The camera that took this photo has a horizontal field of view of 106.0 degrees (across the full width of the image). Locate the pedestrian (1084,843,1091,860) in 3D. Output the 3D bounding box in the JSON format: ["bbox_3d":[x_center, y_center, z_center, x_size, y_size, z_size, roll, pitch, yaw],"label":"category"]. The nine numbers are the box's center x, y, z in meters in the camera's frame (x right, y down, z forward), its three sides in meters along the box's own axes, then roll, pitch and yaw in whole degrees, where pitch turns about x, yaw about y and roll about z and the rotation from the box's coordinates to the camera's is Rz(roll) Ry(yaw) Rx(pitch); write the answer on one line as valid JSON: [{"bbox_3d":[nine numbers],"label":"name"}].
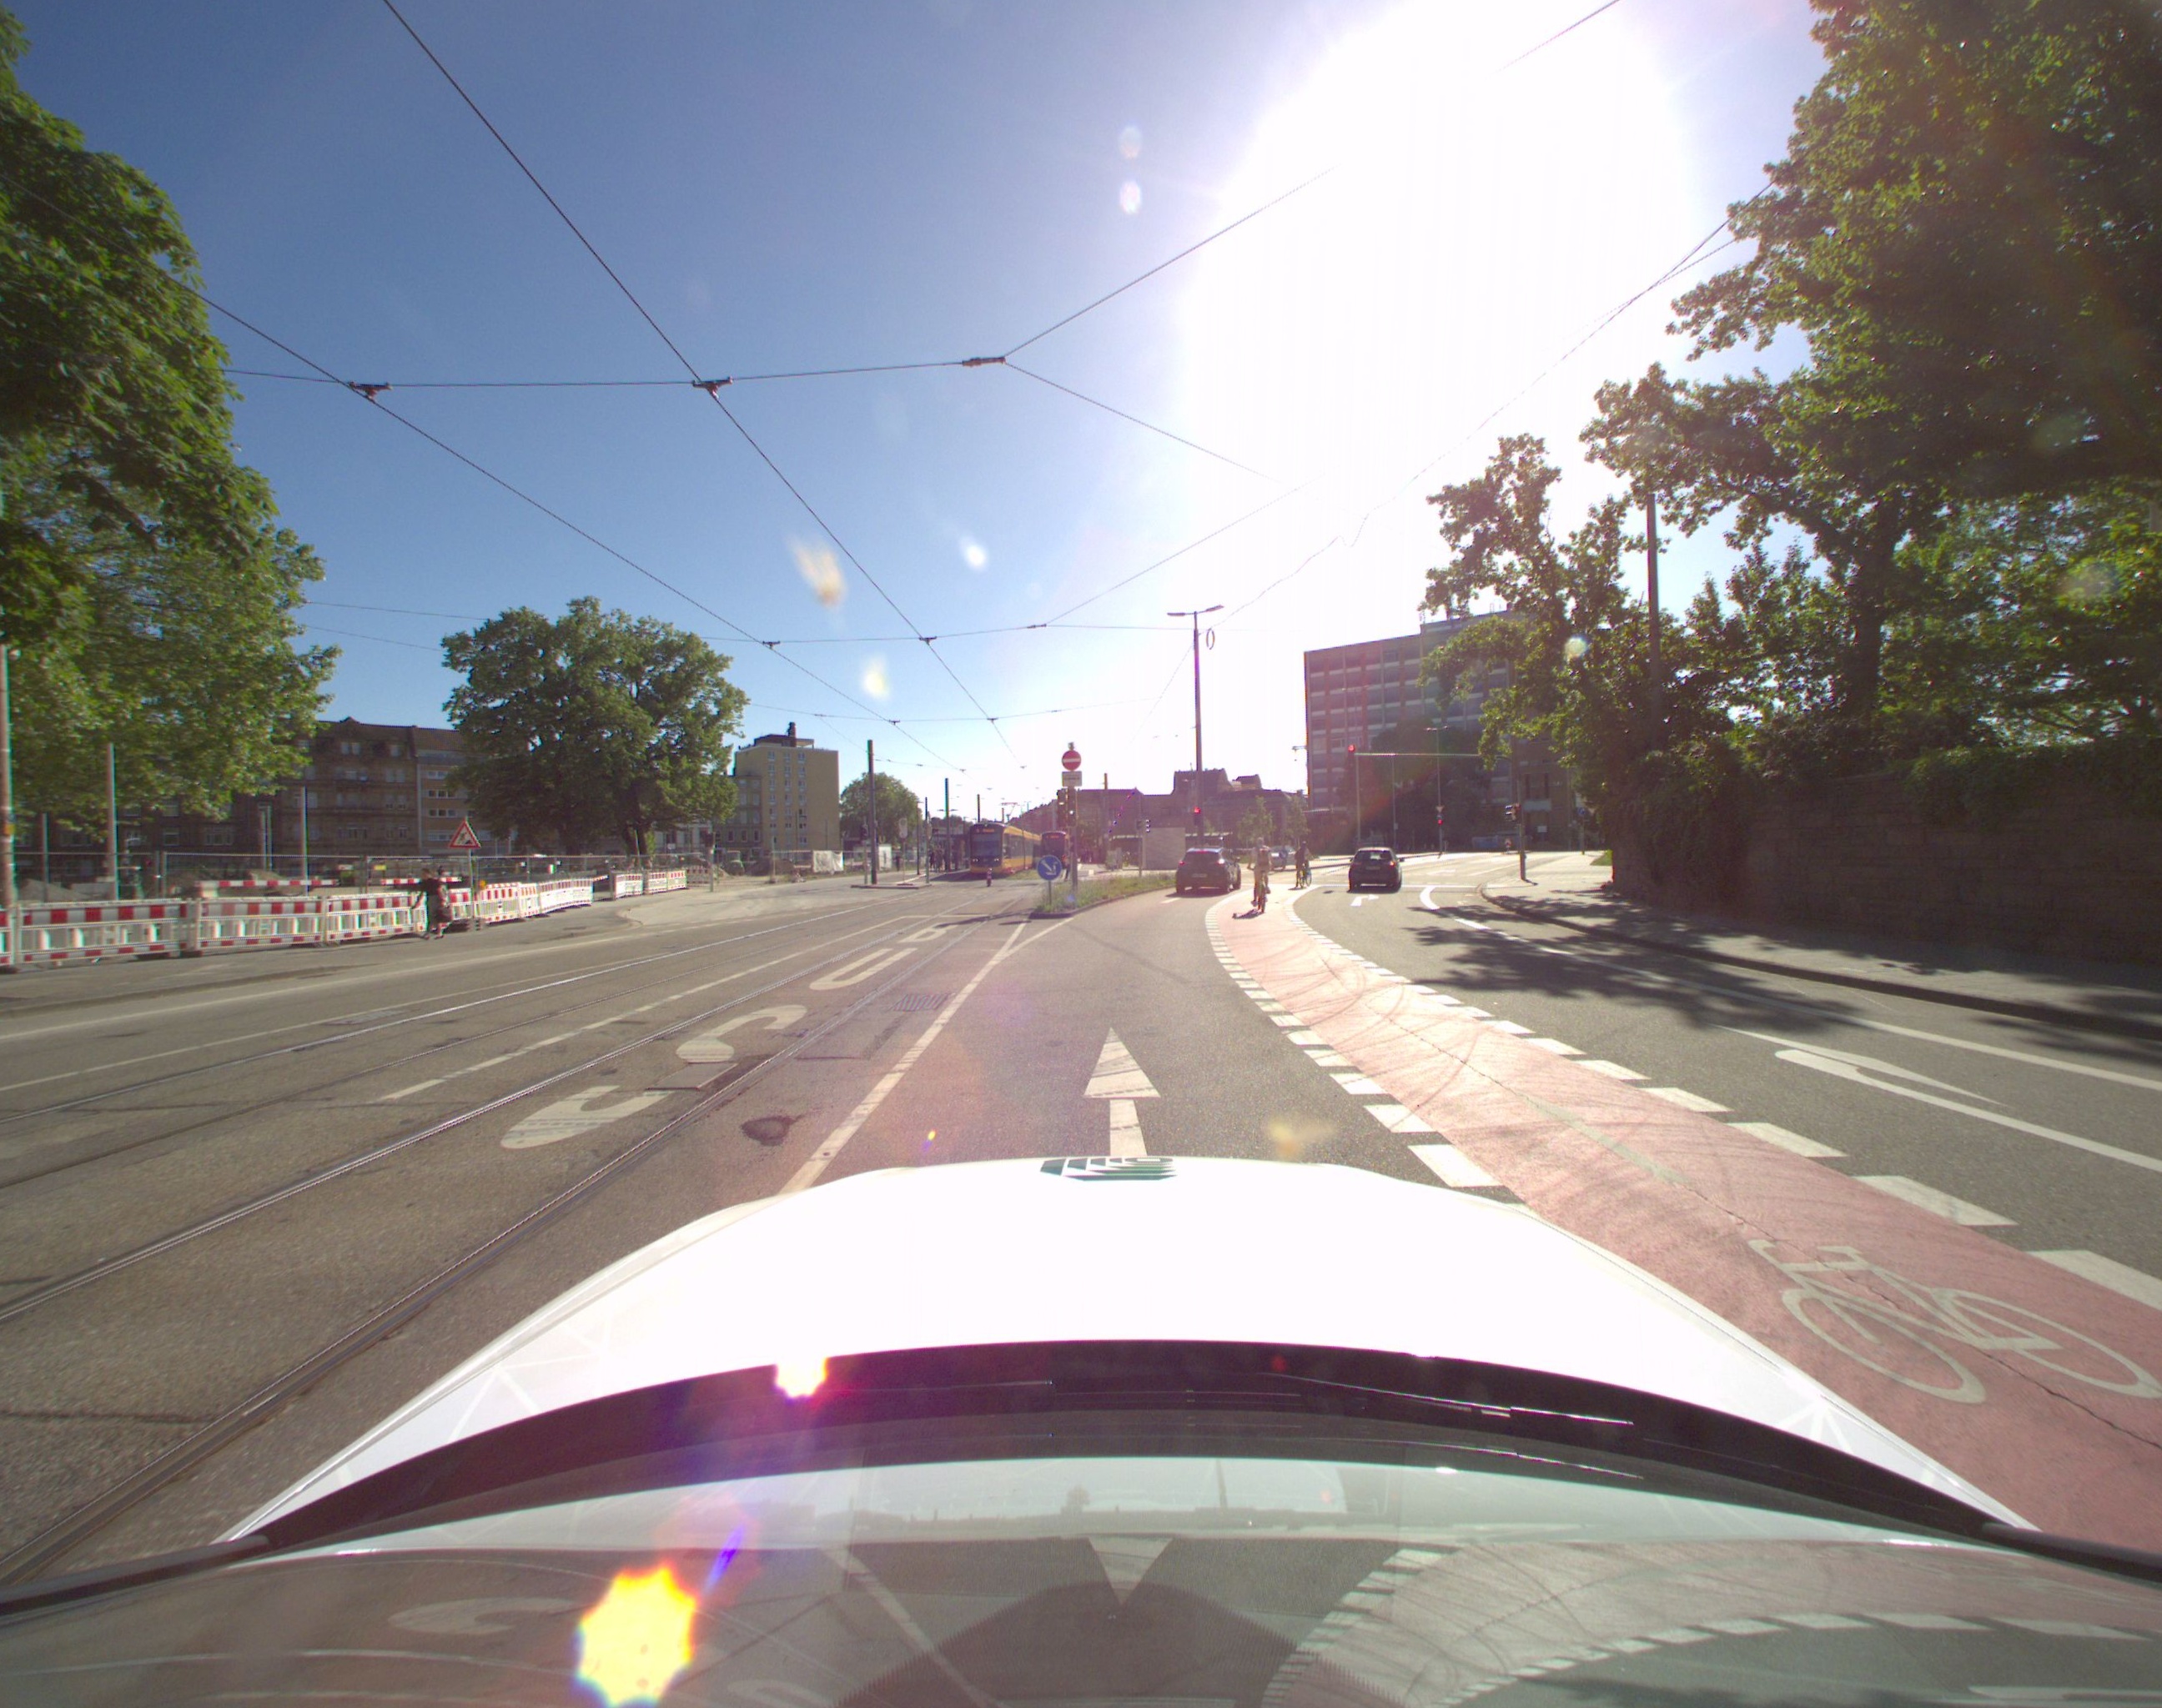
[{"bbox_3d":[0.709,-0.283,95.696,0.660,1.953,0.626,-2,0,-12],"label":"pedestrian"}]

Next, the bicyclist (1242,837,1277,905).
[{"bbox_3d":[4.526,0.410,20.604,0.699,1.675,1.107,0,1,20],"label":"bicyclist"}]

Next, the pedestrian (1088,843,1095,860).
[{"bbox_3d":[1.274,-0.293,96.308,0.660,1.953,0.626,-2,0,-12],"label":"pedestrian"}]

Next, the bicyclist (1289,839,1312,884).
[{"bbox_3d":[8.480,0.279,31.432,0.698,1.700,0.993,1,1,25],"label":"bicyclist"}]

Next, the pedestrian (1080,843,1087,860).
[{"bbox_3d":[0.319,-0.278,94.025,0.660,1.953,0.626,-2,0,-12],"label":"pedestrian"}]

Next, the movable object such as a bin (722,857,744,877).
[{"bbox_3d":[-36.679,1.317,85.915,1.926,2.013,3.970,-2,0,-22],"label":"movable object such as a bin"}]

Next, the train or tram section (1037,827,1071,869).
[{"bbox_3d":[-2.485,-0.627,78.917,2.733,3.651,13.783,-1,1,0],"label":"train or tram section"}]

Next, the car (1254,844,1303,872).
[{"bbox_3d":[12.409,0.221,50.970,1.685,1.643,3.736,0,1,35],"label":"car"}]

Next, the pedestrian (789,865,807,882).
[{"bbox_3d":[-18.424,1.263,53.041,0.894,1.046,0.655,-2,0,1],"label":"pedestrian"}]

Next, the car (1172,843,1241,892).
[{"bbox_3d":[4.508,0.421,28.812,1.774,1.604,3.731,0,1,19],"label":"car"}]

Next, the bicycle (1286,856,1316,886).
[{"bbox_3d":[8.543,0.639,31.577,0.698,1.055,2.327,1,1,25],"label":"bicycle"}]

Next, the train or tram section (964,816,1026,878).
[{"bbox_3d":[-5.586,-0.476,55.503,2.733,3.651,13.783,-1,1,0],"label":"train or tram section"}]

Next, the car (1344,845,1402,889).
[{"bbox_3d":[10.824,0.415,30.015,1.773,1.511,3.733,0,1,23],"label":"car"}]

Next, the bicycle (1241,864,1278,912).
[{"bbox_3d":[4.542,0.830,20.652,0.699,1.104,1.726,0,1,20],"label":"bicycle"}]

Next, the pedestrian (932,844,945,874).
[{"bbox_3d":[-8.967,0.315,51.257,0.624,1.827,0.662,-2,0,-1],"label":"pedestrian"}]

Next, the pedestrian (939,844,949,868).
[{"bbox_3d":[-10.571,0.151,62.839,0.624,1.827,0.662,-2,0,-1],"label":"pedestrian"}]

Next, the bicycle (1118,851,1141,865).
[{"bbox_3d":[4.233,0.341,70.752,1.929,1.103,0.598,-2,0,-2],"label":"bicycle"}]

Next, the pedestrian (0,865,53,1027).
[{"bbox_3d":[-11.717,0.990,8.590,0.633,1.697,0.820,-3,0,4],"label":"pedestrian"}]

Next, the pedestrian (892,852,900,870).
[{"bbox_3d":[-17.868,0.682,78.729,0.624,1.697,0.662,-2,0,-1],"label":"pedestrian"}]

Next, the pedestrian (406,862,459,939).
[{"bbox_3d":[-14.772,1.037,18.563,0.617,1.697,0.678,-2,0,-5],"label":"pedestrian"}]

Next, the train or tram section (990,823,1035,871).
[{"bbox_3d":[-5.598,-0.602,68.647,2.733,3.651,12.542,-1,1,0],"label":"train or tram section"}]

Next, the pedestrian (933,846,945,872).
[{"bbox_3d":[-9.933,0.344,56.949,0.624,1.827,0.662,-2,0,-1],"label":"pedestrian"}]

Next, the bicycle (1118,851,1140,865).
[{"bbox_3d":[4.219,0.343,71.521,1.929,1.103,0.598,-2,0,-2],"label":"bicycle"}]
